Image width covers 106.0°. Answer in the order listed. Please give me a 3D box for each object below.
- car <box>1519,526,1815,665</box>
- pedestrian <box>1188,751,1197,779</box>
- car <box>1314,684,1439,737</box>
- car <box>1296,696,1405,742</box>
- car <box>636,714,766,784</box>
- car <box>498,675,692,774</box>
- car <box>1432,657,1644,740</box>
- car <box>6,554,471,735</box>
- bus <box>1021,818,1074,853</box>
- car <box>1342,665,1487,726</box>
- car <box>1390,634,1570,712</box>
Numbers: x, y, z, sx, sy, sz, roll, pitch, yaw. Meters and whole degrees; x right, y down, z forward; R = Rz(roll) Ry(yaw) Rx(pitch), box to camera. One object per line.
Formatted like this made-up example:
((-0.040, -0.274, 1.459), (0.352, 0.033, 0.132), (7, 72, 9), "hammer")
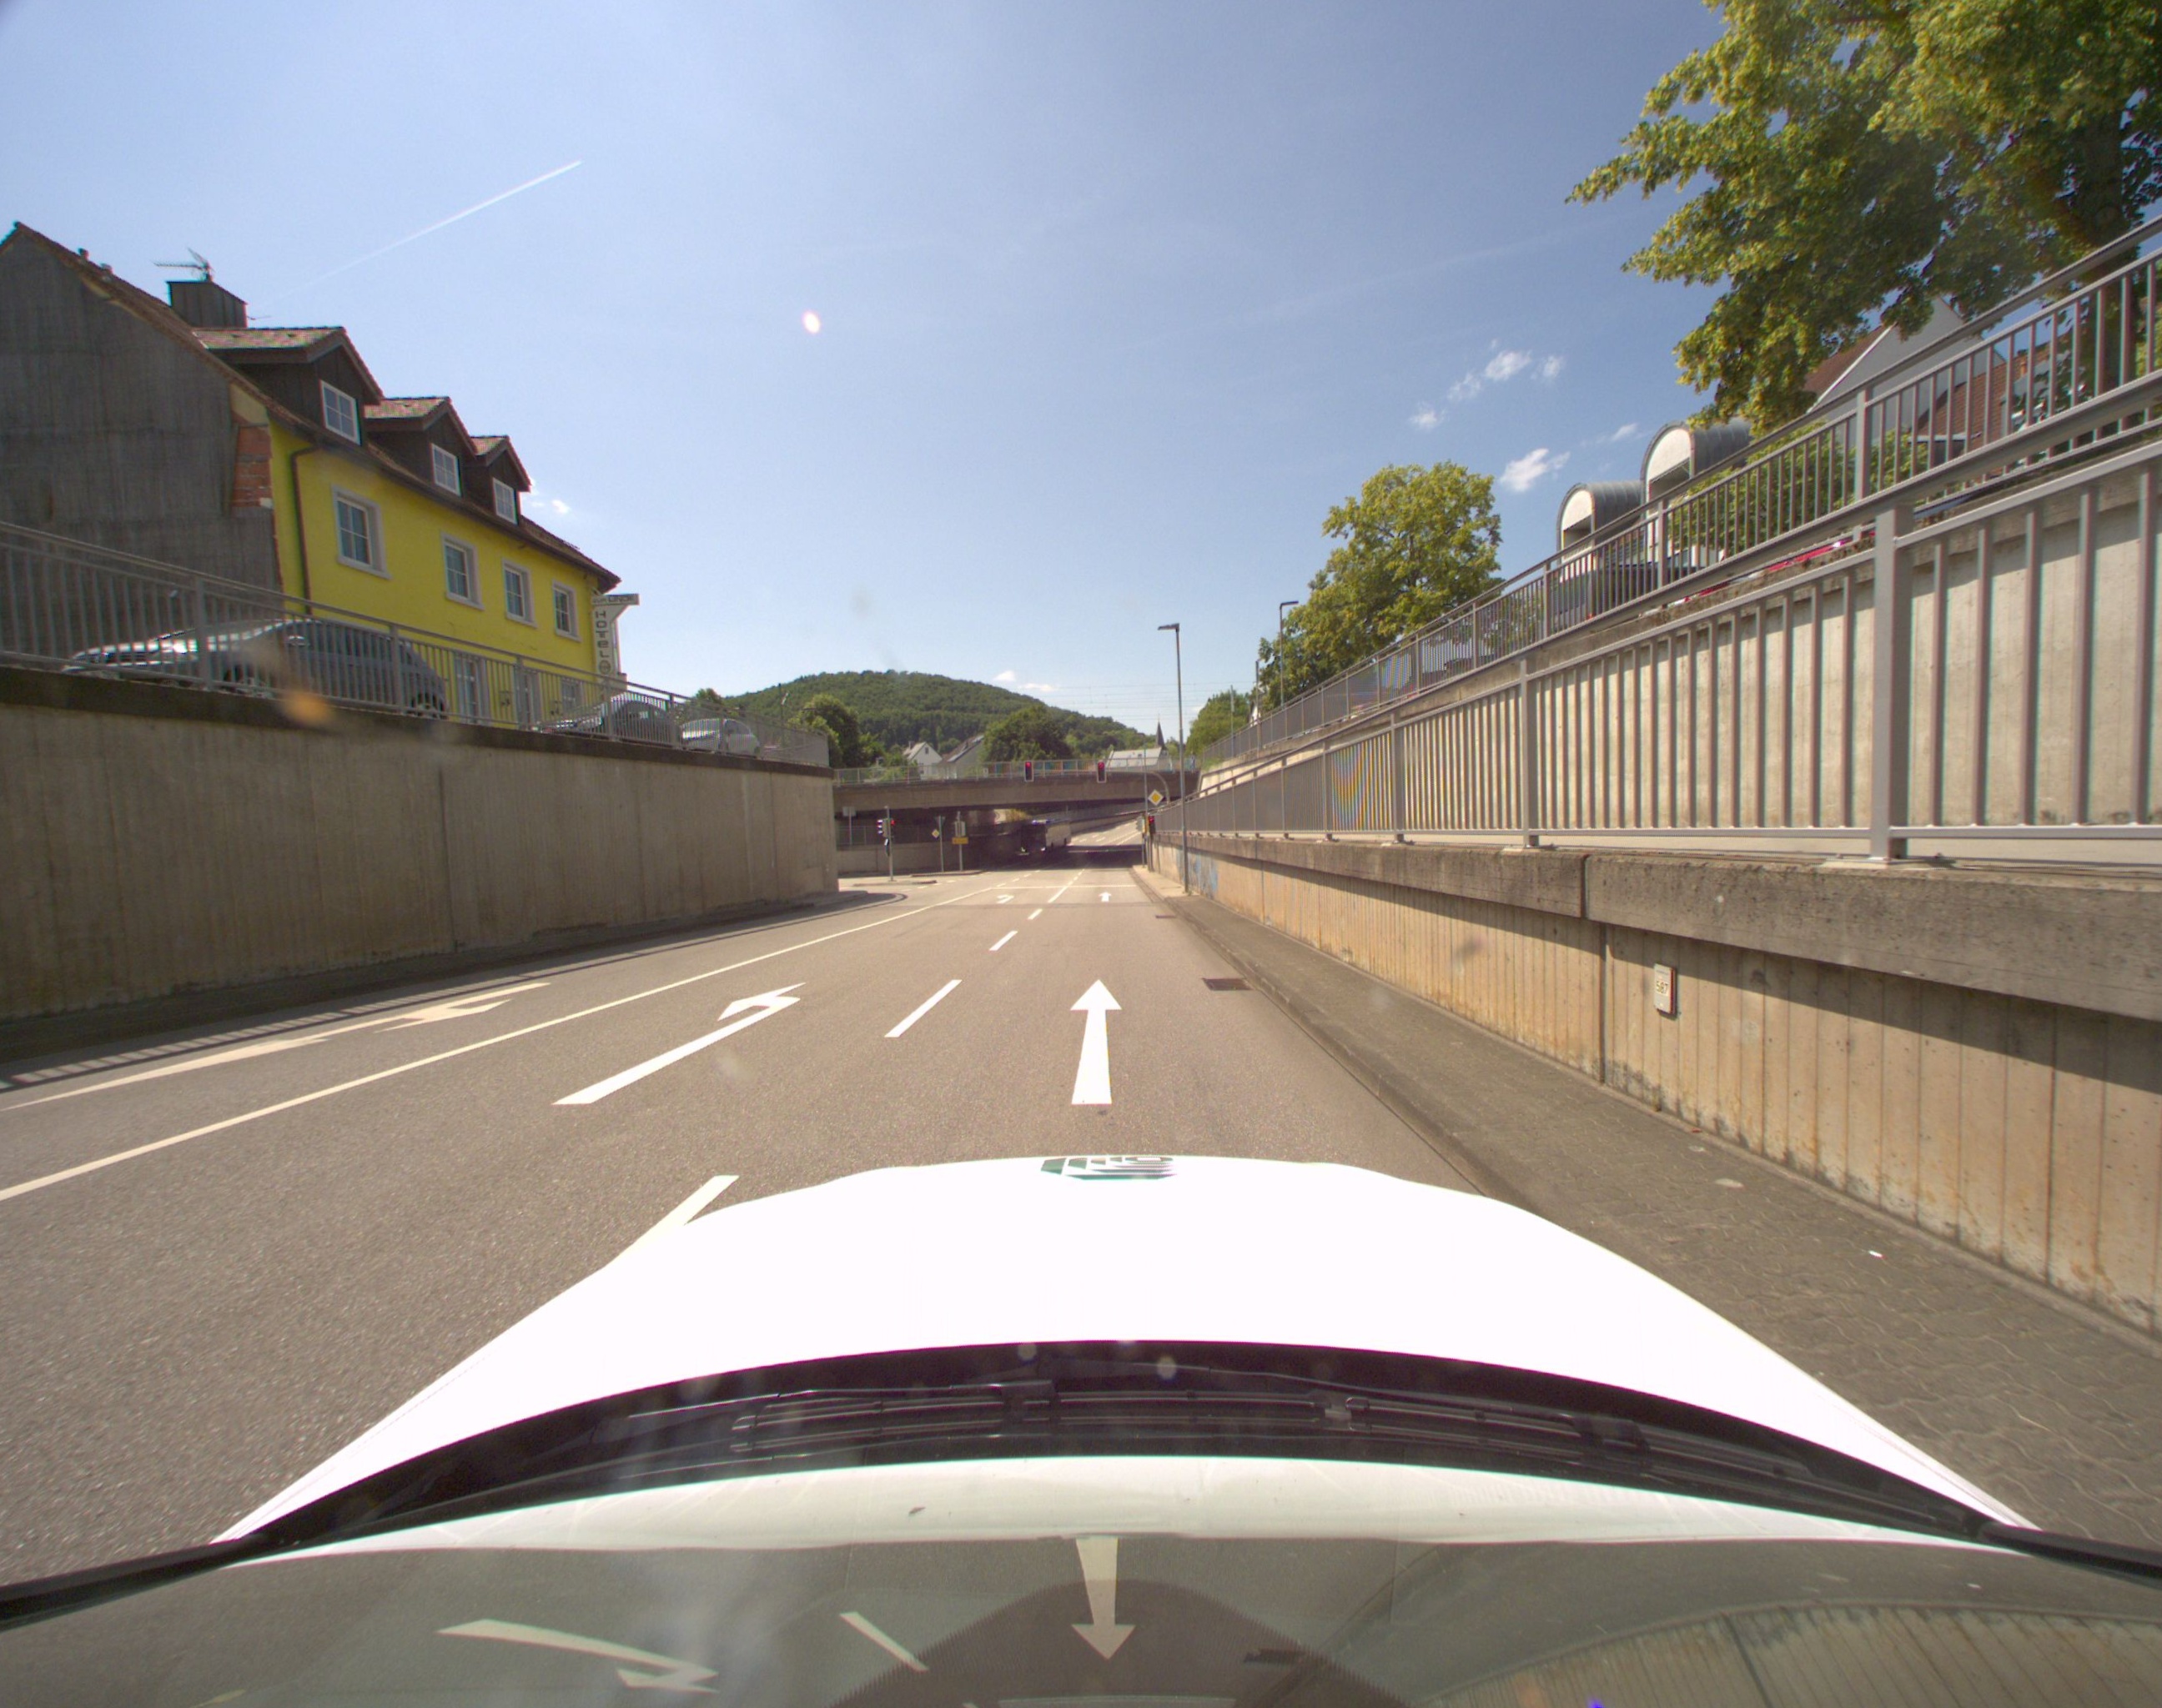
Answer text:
((10.321, -4.548, 14.611), (3.968, 1.770, 1.772), (-1, 0, 4), "car")
((8.458, -6.762, 61.782), (0.538, 2.081, 0.534), (-3, 0, -5), "pedestrian")
((10.742, -5.222, 29.806), (3.968, 1.486, 1.772), (-1, 0, 4), "car")
((11.078, -5.550, 33.665), (3.968, 1.486, 1.772), (-1, 0, 4), "car")
((-11.121, -3.043, 24.172), (1.896, 1.667, 4.001), (-2, 2, 0), "car")
((-10.892, -2.840, 18.670), (1.817, 1.705, 4.223), (-2, 2, 0), "car")
((10.600, -3.598, 19.137), (3.968, 1.486, 1.772), (-1, 0, 4), "car")
((-11.082, -2.670, 11.330), (1.793, 1.524, 4.393), (-2, 2, 0), "car")
((-3.279, -2.011, 84.142), (2.564, 3.172, 12.417), (-1, 3, 11), "bus")
((10.633, -5.068, 26.179), (3.968, 1.486, 1.772), (-1, 0, 4), "car")
((10.584, -4.808, 21.850), (3.968, 1.567, 1.772), (-1, 0, 4), "car")
